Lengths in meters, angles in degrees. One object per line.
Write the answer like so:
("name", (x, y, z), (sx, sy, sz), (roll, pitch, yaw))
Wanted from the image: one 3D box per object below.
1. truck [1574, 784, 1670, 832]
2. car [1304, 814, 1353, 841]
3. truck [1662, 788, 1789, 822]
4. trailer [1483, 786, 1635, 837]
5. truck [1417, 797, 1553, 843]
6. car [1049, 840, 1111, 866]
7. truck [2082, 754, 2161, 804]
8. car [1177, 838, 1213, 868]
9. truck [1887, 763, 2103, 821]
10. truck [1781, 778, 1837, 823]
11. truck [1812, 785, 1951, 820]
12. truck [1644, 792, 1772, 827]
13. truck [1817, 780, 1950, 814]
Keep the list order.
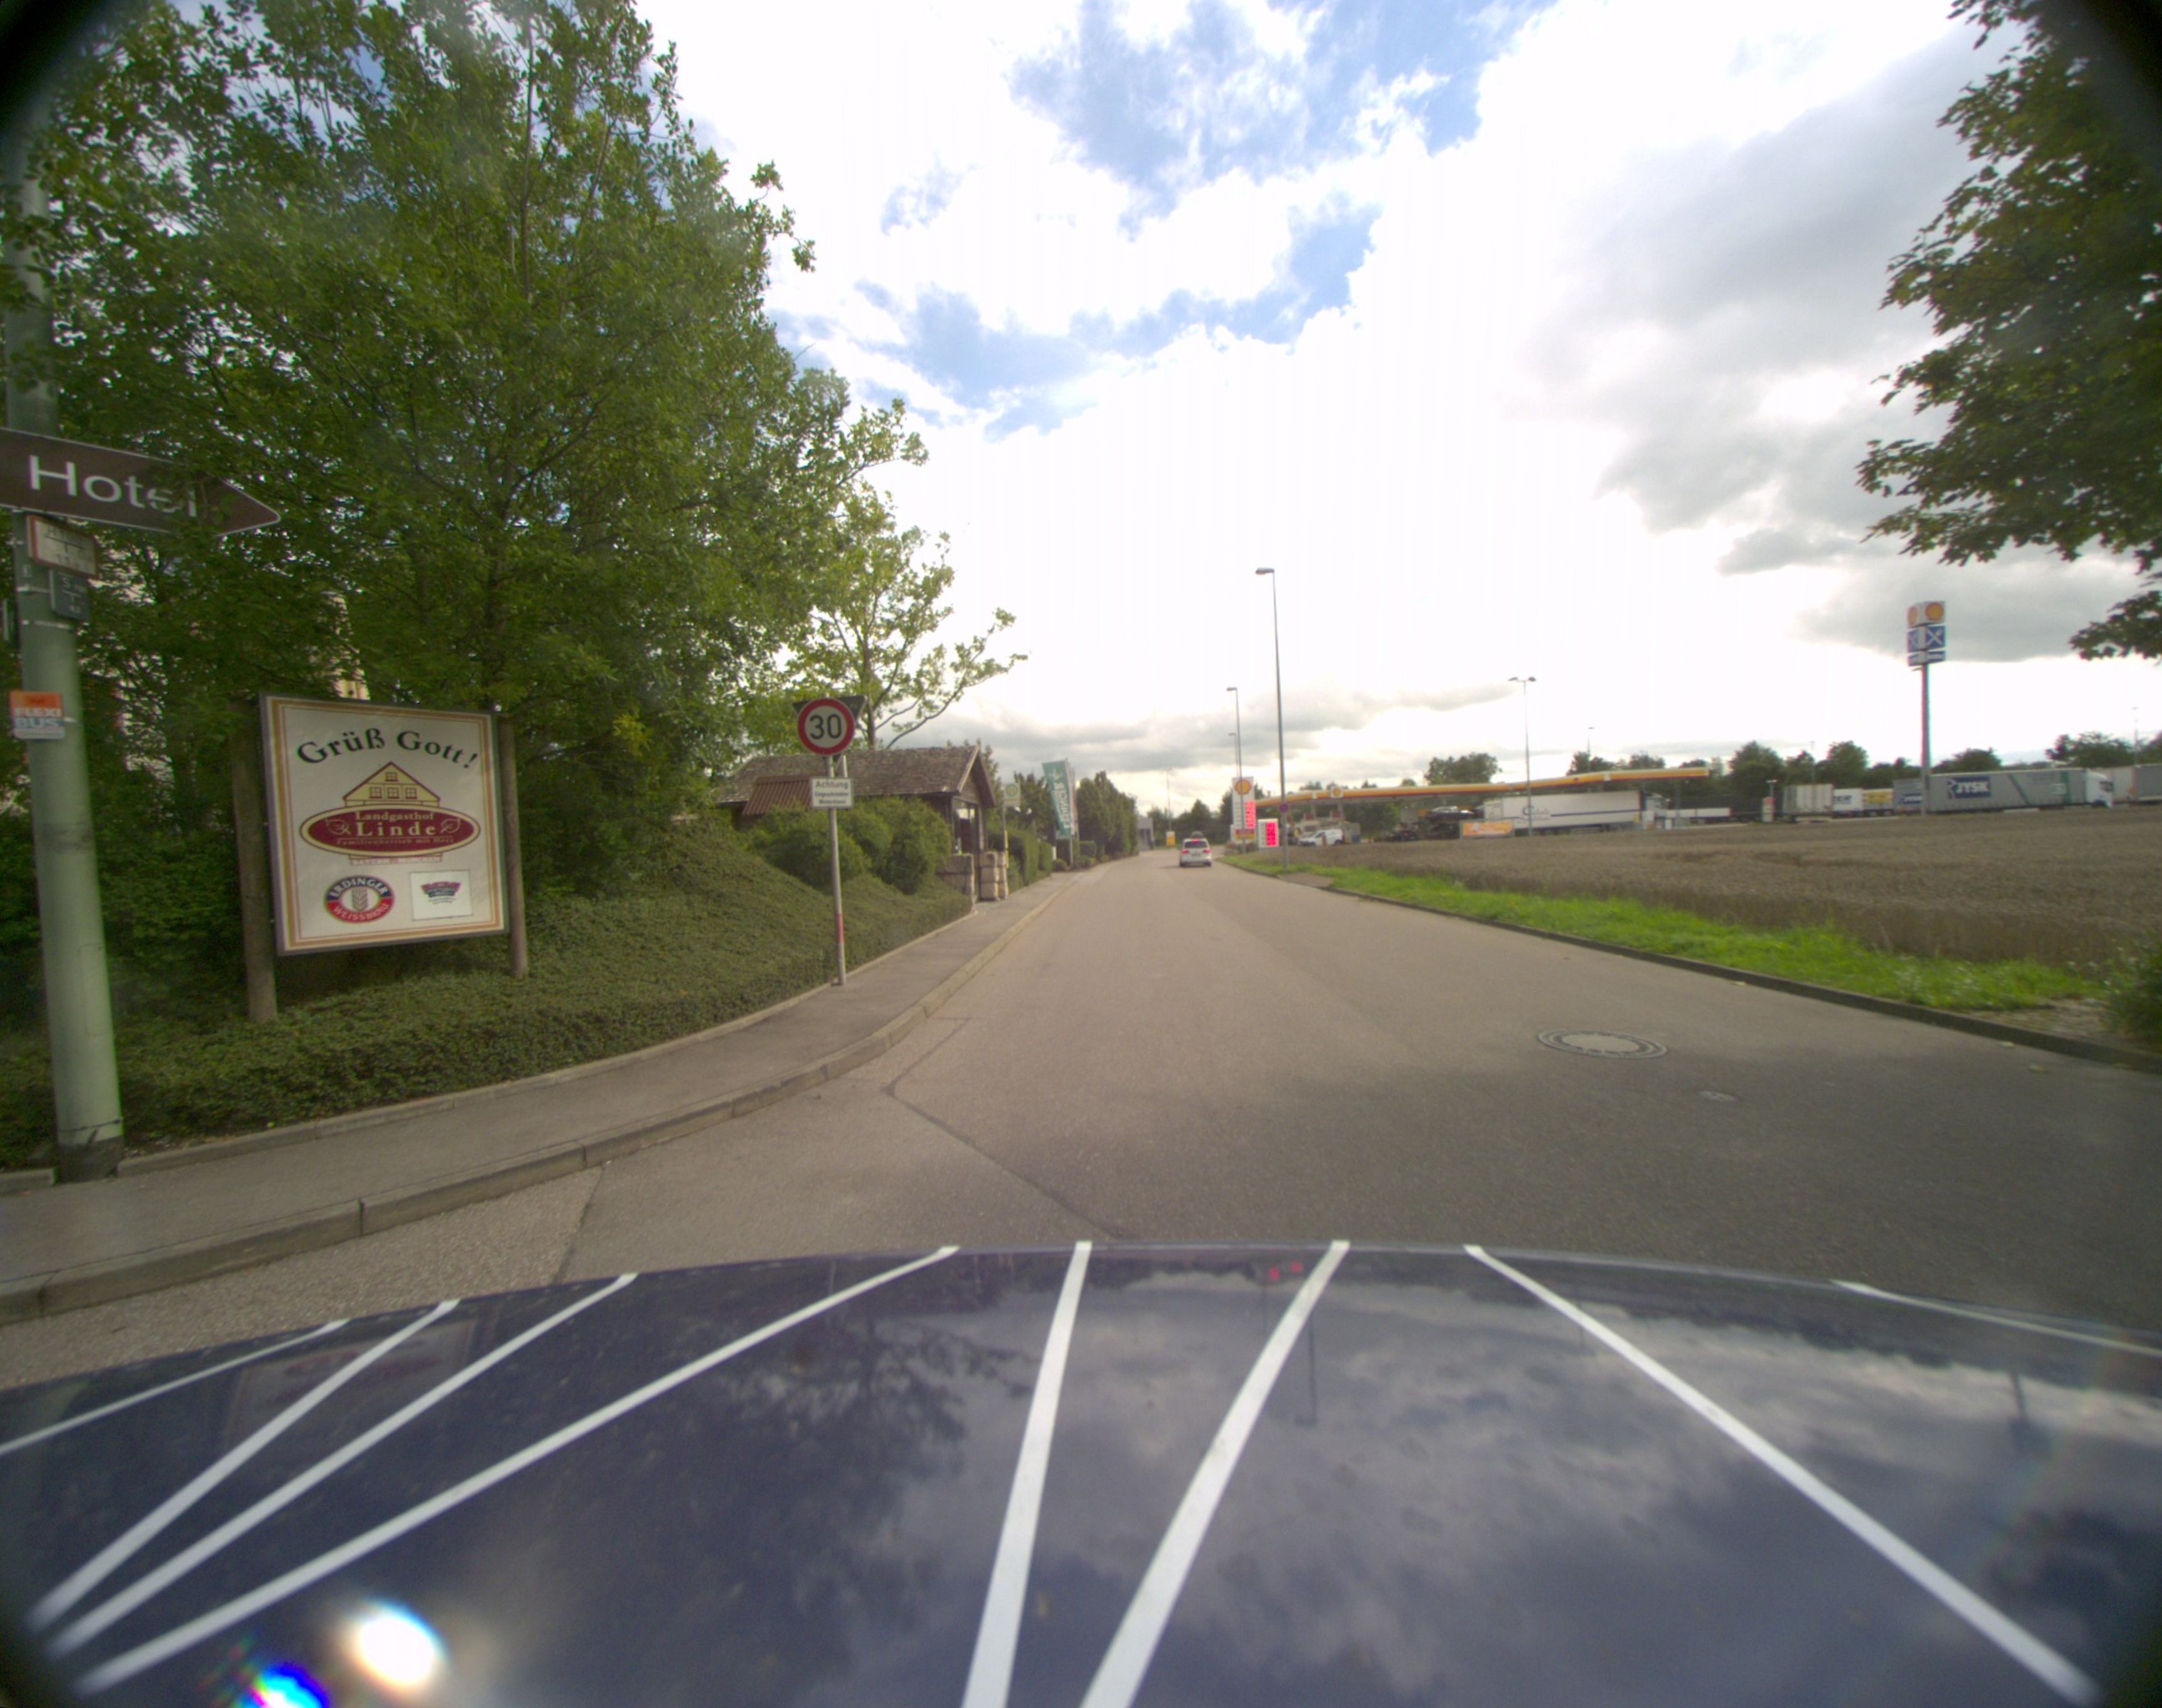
("truck", (50.412, -4.270, 70.878), (7.167, 4.002, 2.711), (-3, 1, -6))
("car", (27.500, -2.990, 84.369), (5.818, 2.771, 2.219), (-4, 1, -37))
("truck", (87.072, -6.585, 103.019), (12.977, 3.872, 2.829), (-1, 3, 40))
("trailer", (44.092, -3.893, 70.227), (12.844, 4.002, 2.711), (-3, 1, -6))
("truck", (39.771, -3.383, 74.789), (13.262, 3.902, 2.748), (-3, 2, -13))
("car", (-0.080, -0.080, 57.378), (4.356, 1.707, 1.658), (-3, 1, 12))
("truck", (94.210, -6.623, 64.973), (15.457, 3.872, 2.822), (-3, 2, -6))
("car", (6.769, -0.098, 45.358), (1.703, 1.656, 4.032), (-2, 1, 3))
("truck", (75.718, -5.102, 63.053), (15.454, 3.872, 2.822), (-3, 2, -3))
("truck", (74.239, -5.461, 77.722), (2.955, 4.090, 14.774), (-1, 3, 39))
("truck", (109.167, -6.953, 104.061), (12.773, 3.872, 2.829), (-1, 3, 39))
("truck", (81.445, -5.720, 99.130), (12.773, 3.872, 2.829), (-1, 3, 39))
("truck", (113.744, -8.031, 108.099), (12.773, 3.872, 2.829), (-1, 3, 39))
